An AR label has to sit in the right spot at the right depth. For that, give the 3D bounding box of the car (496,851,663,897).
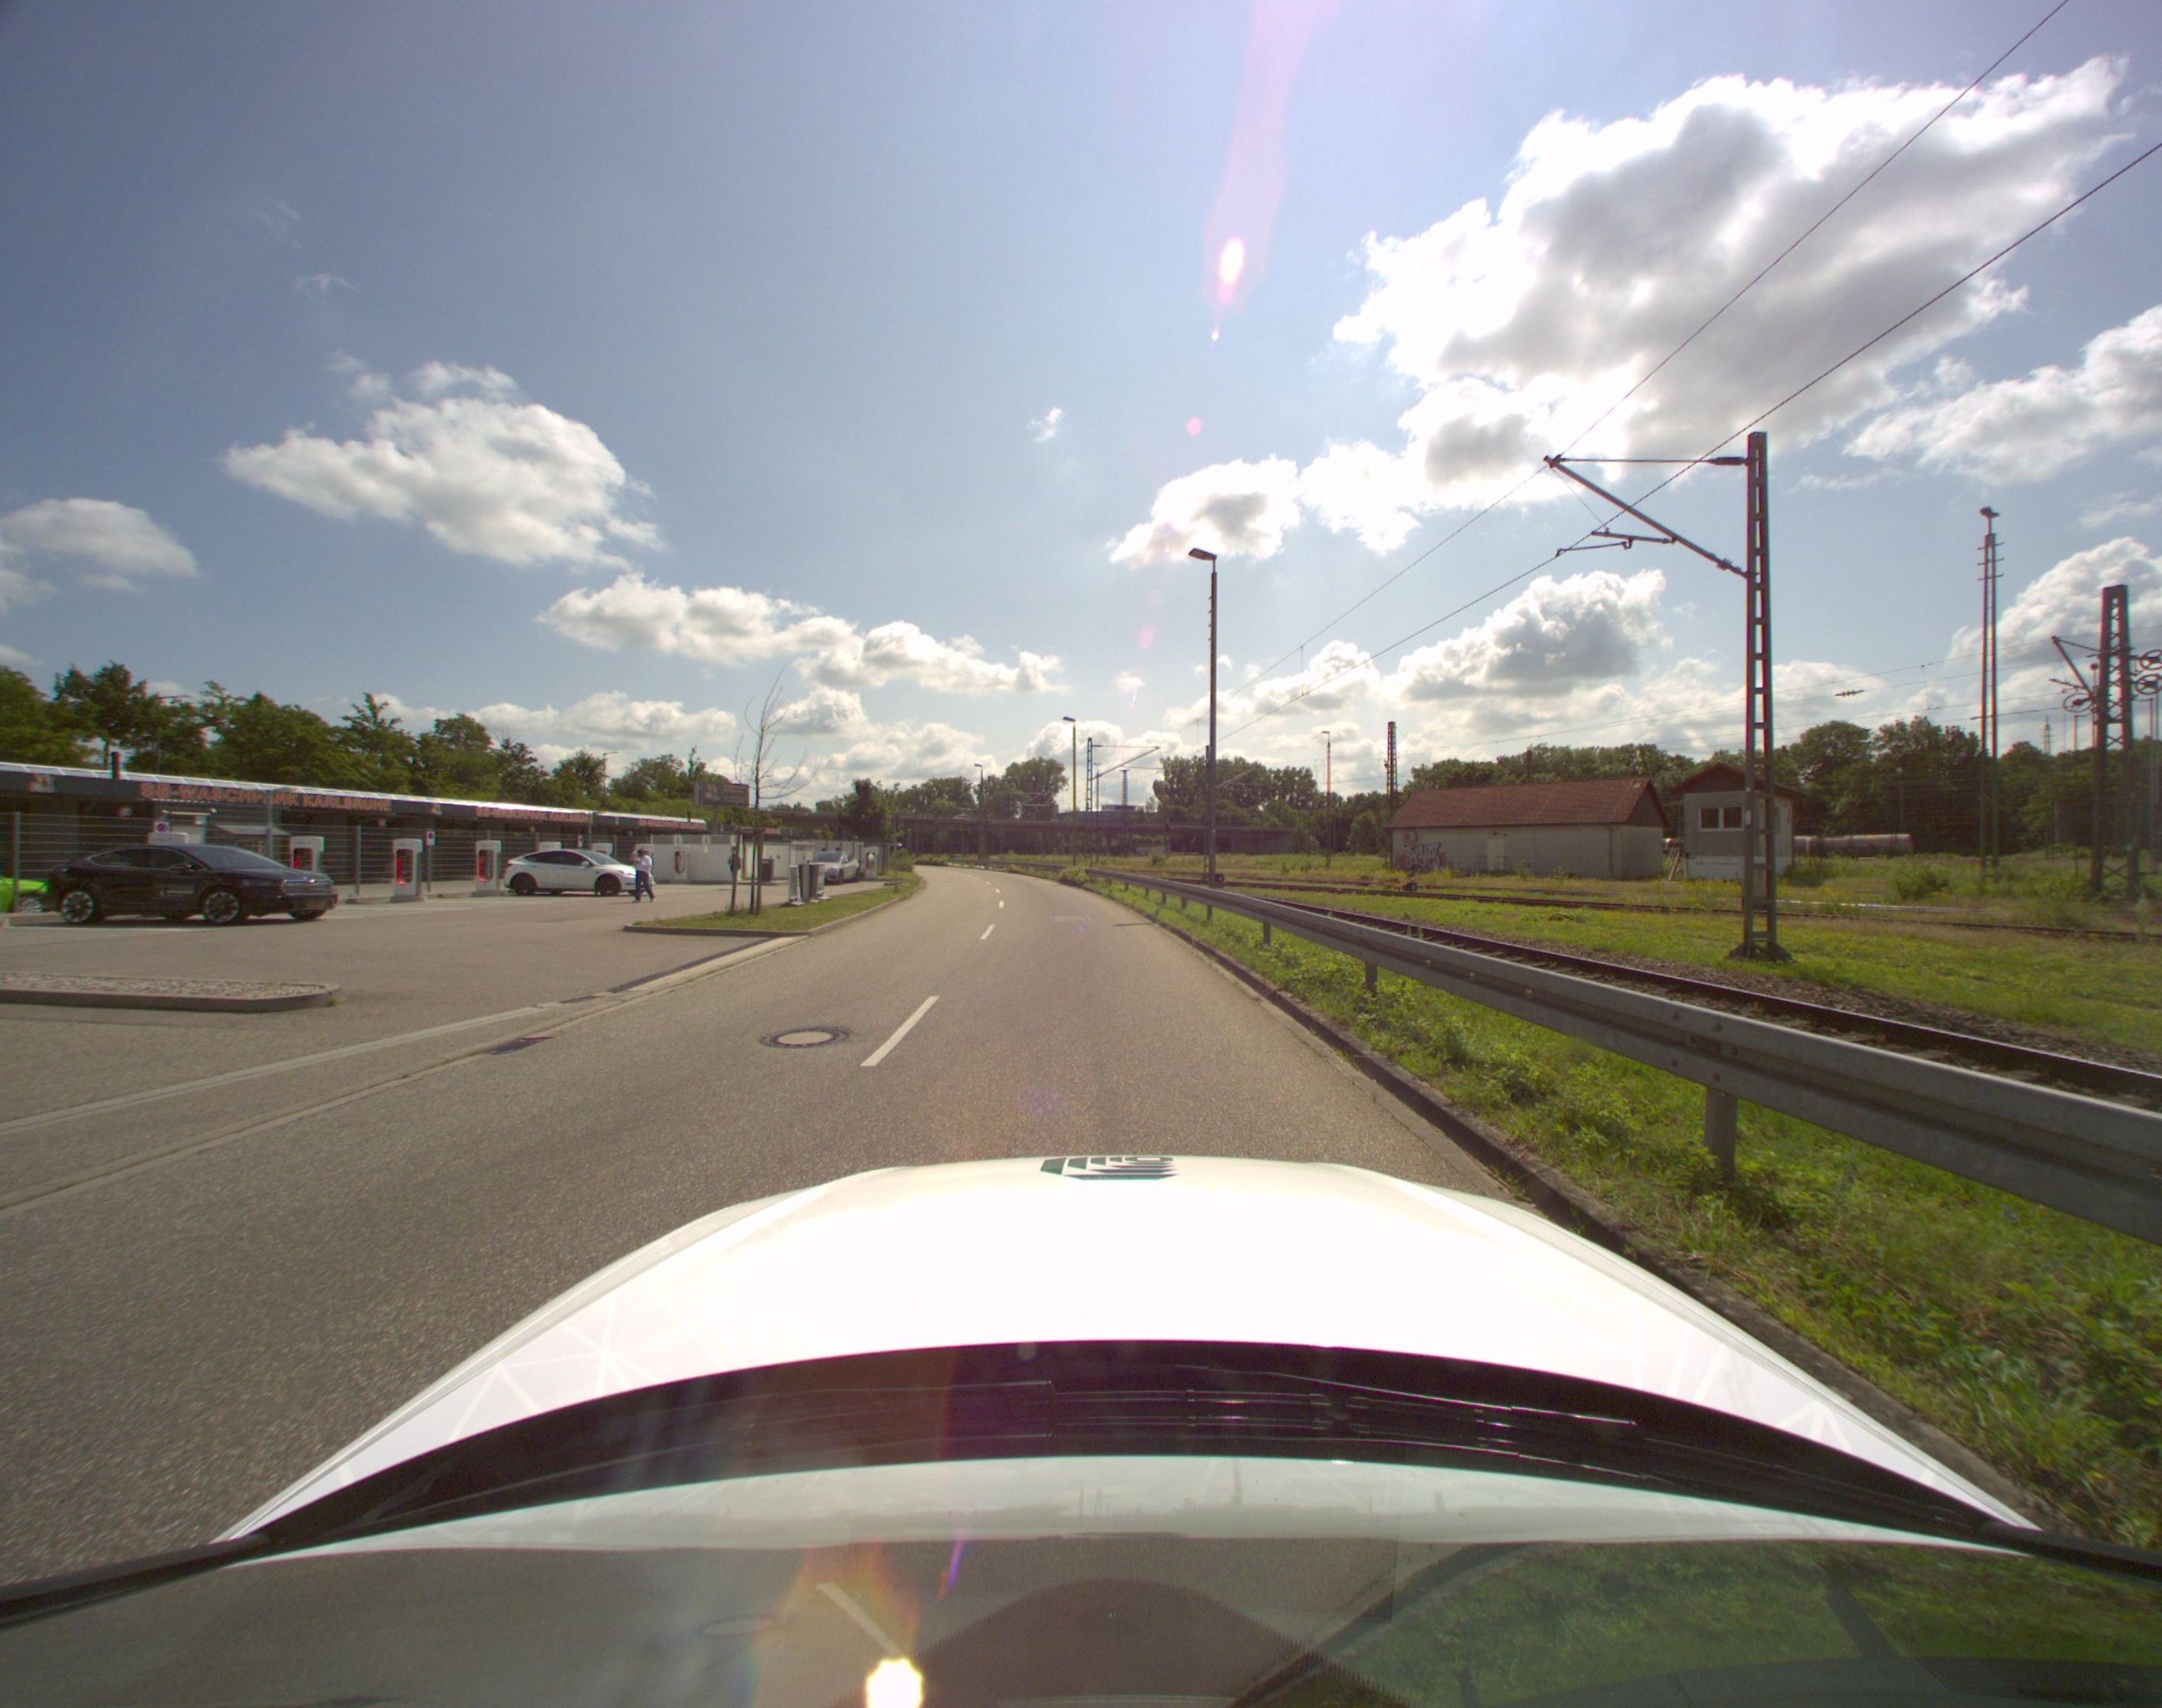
[{"bbox_3d":[-17.446,0.696,28.536,4.540,1.524,1.998,0,-1,-3],"label":"car"}]

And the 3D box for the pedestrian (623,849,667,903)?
[{"bbox_3d":[-13.586,0.685,25.386,0.860,1.653,0.940,0,0,-2],"label":"pedestrian"}]

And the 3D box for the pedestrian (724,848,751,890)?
[{"bbox_3d":[-14.704,0.639,34.846,0.861,1.751,0.725,0,-1,-8],"label":"pedestrian"}]

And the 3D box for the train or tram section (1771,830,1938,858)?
[{"bbox_3d":[100.309,-1.181,106.137,3.050,3.305,15.572,0,-1,-41],"label":"train or tram section"}]

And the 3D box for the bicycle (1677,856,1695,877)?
[{"bbox_3d":[36.075,0.738,48.546,1.883,1.204,0.408,0,0,-38],"label":"bicycle"}]

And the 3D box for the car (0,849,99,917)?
[{"bbox_3d":[-24.521,0.625,17.318,1.908,1.482,4.303,0,-1,3],"label":"car"}]

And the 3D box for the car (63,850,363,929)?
[{"bbox_3d":[-17.776,0.699,16.860,3.975,1.519,1.999,0,-1,-1],"label":"car"}]

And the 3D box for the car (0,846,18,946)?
[{"bbox_3d":[-18.066,0.600,10.811,4.733,1.455,2.236,0,0,-3],"label":"car"}]

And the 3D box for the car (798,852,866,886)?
[{"bbox_3d":[-12.542,0.710,41.345,1.924,1.517,4.776,0,1,1],"label":"car"}]

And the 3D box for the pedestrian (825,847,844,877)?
[{"bbox_3d":[-13.539,0.439,44.780,0.704,1.579,0.726,-1,-1,39],"label":"pedestrian"}]

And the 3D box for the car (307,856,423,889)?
[{"bbox_3d":[-35.458,0.923,40.426,3.974,1.562,2.000,-1,-1,0],"label":"car"}]
